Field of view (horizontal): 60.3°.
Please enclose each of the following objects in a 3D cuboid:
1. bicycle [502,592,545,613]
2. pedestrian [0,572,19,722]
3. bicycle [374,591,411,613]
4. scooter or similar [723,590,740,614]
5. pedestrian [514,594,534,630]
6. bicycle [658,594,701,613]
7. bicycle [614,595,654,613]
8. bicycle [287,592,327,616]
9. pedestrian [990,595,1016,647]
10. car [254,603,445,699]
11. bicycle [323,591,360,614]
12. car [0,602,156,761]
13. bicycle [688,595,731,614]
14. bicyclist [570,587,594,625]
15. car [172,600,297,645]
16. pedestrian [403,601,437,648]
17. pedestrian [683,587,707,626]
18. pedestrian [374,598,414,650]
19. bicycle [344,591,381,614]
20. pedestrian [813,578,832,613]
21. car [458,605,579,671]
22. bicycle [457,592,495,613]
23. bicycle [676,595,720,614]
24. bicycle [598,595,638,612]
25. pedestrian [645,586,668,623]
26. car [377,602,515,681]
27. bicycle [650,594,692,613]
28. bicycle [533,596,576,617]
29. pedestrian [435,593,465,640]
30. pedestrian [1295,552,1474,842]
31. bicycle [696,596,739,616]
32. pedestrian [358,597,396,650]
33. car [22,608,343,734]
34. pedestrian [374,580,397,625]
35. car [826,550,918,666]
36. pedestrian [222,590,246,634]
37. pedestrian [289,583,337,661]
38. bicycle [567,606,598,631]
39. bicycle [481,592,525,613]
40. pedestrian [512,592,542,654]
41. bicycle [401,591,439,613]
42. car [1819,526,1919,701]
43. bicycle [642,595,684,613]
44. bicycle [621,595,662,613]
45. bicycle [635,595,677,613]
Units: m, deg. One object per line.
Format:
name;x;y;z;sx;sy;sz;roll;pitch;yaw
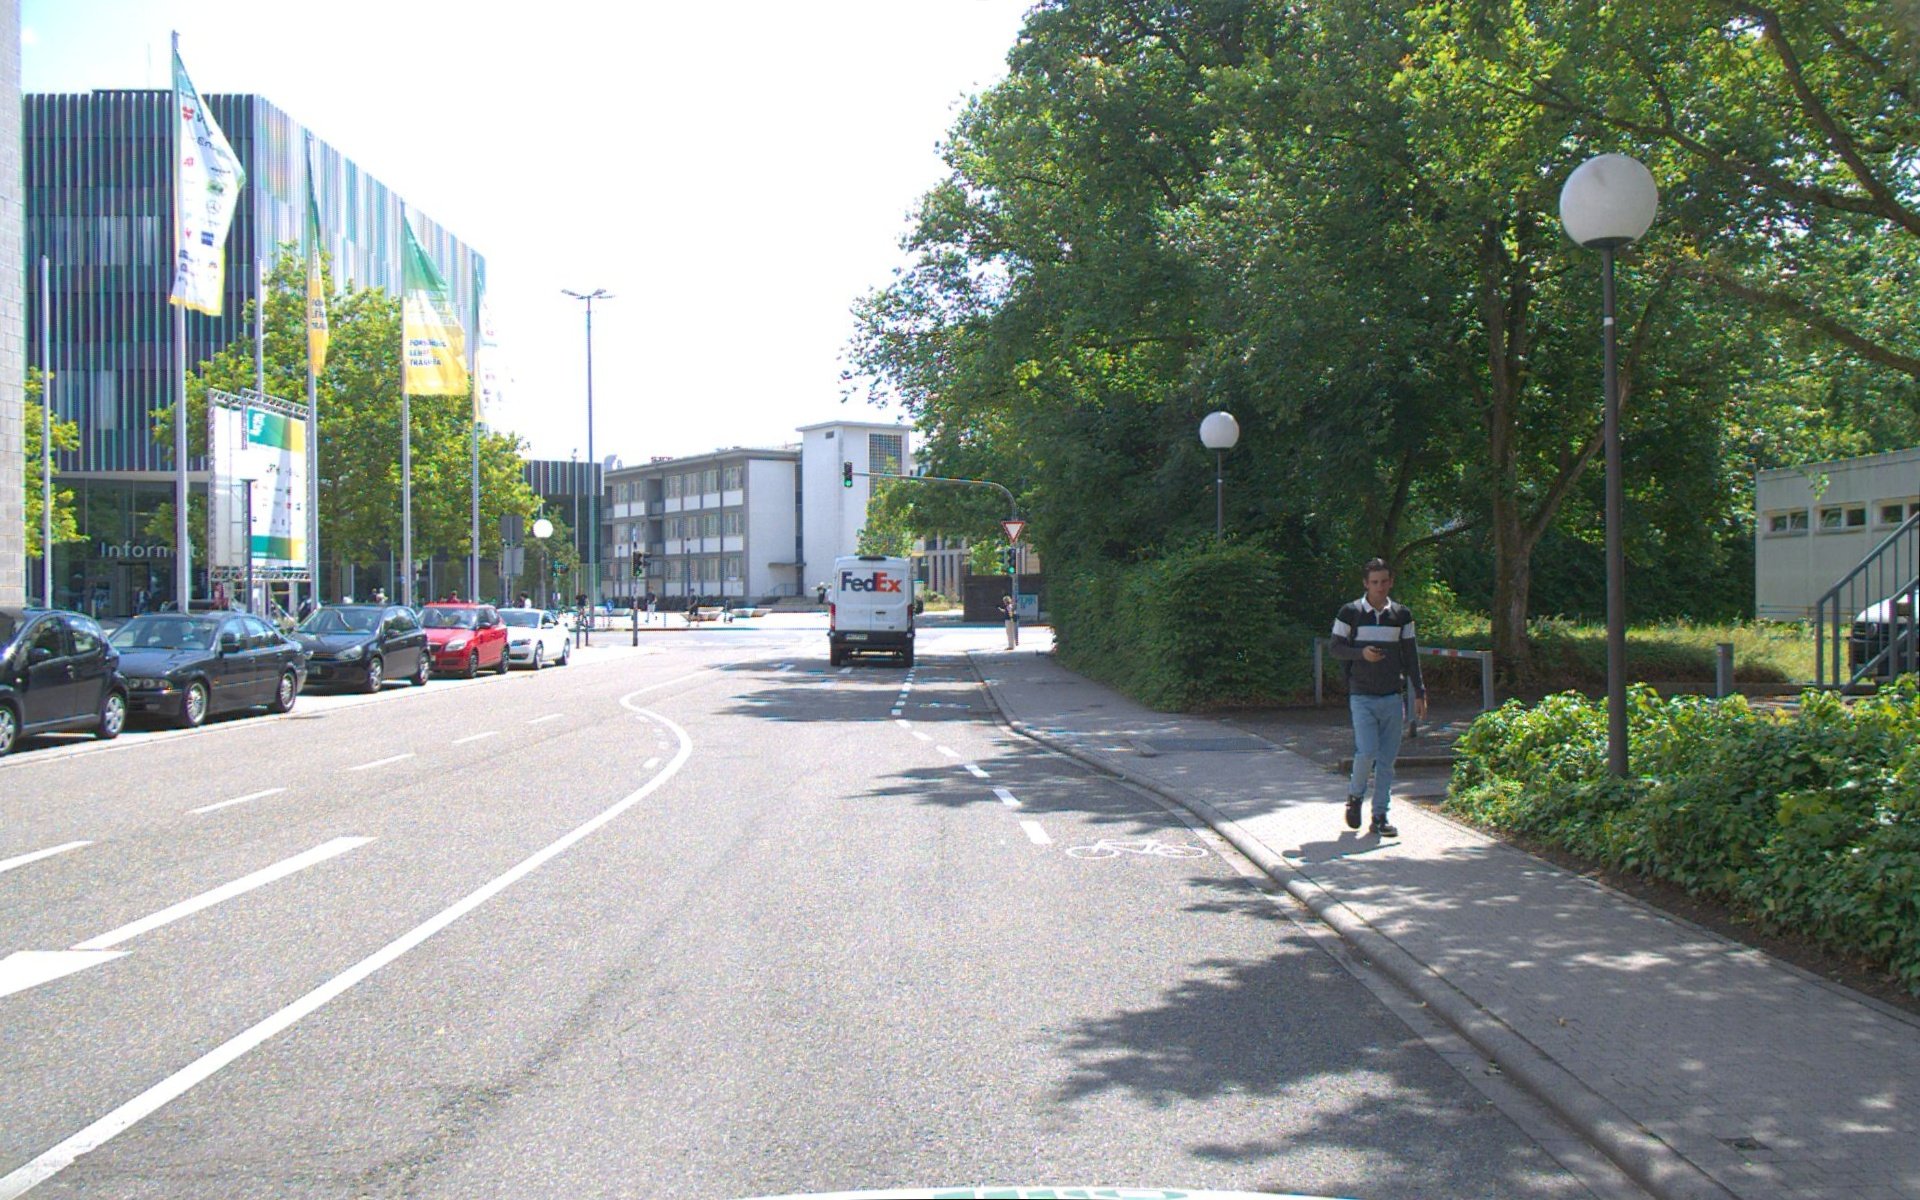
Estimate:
bicycle;-26.253;0.151;99.417;2.901;1.259;1.193;0;0;44
pedestrian;-13.598;0.641;22.503;0.965;2.049;1.163;0;0;-5
bicycle;-32.261;0.104;93.954;1.188;1.259;2.913;0;0;-36
scooter or similar;-11.800;0.113;85.451;0.704;1.199;2.717;0;0;-11
pedestrian;-20.772;0.582;78.808;0.738;1.708;0.755;-1;0;-4
bicycle;-20.696;0.283;122.063;2.936;1.387;1.101;0;0;-39
bicycle;-25.330;0.309;128.485;2.936;1.387;1.101;0;0;-39
bicycle;-36.012;0.210;91.209;1.363;1.259;2.913;0;0;-36
pedestrian;1.339;0.655;51.401;0.717;1.603;0.774;1;0;-6
car;-10.600;0.837;29.061;1.712;1.493;4.196;2;0;1
bicycle;-34.438;0.161;92.055;1.188;1.259;2.913;0;0;-36
car;-10.196;0.798;17.472;1.605;1.493;3.706;1;0;-1
bicycle;-17.974;0.328;118.675;2.936;1.387;1.101;0;0;-39
bicyclist;-18.562;0.284;81.240;0.772;1.849;1.000;-1;0;9
car;-28.804;0.892;65.724;4.194;1.690;1.653;-1;1;0
pedestrian;-19.737;0.882;60.481;0.808;1.683;0.862;-1;1;13
pedestrian;-13.150;0.301;82.007;1.059;1.903;0.832;-1;0;-3
pedestrian;-20.693;0.875;60.482;0.844;1.850;1.096;-1;0;22
bicycle;-33.664;0.153;93.126;1.188;1.259;2.913;0;0;-36
pedestrian;-7.704;-0.250;92.697;0.852;1.922;0.907;0;0;-20
car;-10.491;0.857;39.613;1.642;1.420;4.662;2;0;0
bicycle;-28.640;0.143;97.851;1.188;1.259;2.911;0;0;-38
bicycle;-19.021;0.325;119.918;2.936;1.387;1.258;0;0;-39
bicycle;-27.183;0.291;131.470;2.936;1.387;1.101;0;0;-39
pedestrian;-15.795;0.238;86.101;0.687;1.887;1.400;-1;2;8
car;-10.628;0.822;34.478;1.642;1.493;3.910;2;0;0
bicycle;-21.488;0.284;123.104;2.936;1.387;1.101;0;0;-39
bicycle;-24.727;0.415;100.751;2.901;1.259;1.193;0;0;44
pedestrian;-17.866;0.587;57.957;0.754;1.625;0.798;-1;0;1
pedestrian;2.637;0.568;10.406;0.725;1.704;1.255;0;0;-4
bicycle;-17.229;0.438;117.590;2.936;1.387;1.101;0;0;-39
pedestrian;-21.550;0.857;61.146;0.835;1.909;1.006;-1;0;22
car;-10.129;0.853;22.058;1.821;1.402;5.016;2;0;1
pedestrian;-33.542;0.139;96.538;0.968;2.610;0.998;0;0;-44
car;-2.076;0.156;40.464;2.053;2.611;5.600;-1;0;-2
pedestrian;-42.605;0.694;97.030;0.953;2.610;1.014;0;0;-1
pedestrian;-15.979;0.529;40.888;0.704;1.883;1.089;1;0;3
bicycle;-18.558;0.899;81.292;0.754;1.142;2.028;-1;0;9
bicycle;-27.226;0.147;98.481;2.901;1.259;1.193;0;0;44
pedestrian;-13.295;0.707;50.768;0.704;1.892;0.770;0;0;1
bicycle;-31.209;0.132;95.557;1.188;1.259;2.912;0;0;-37
car;13.503;0.117;20.420;4.726;2.049;2.061;-1;0;-1
bicycle;-22.260;0.311;124.142;2.936;1.387;1.101;0;0;-39
bicycle;-24.424;0.311;127.019;2.936;1.387;1.101;0;0;-39
bicycle;-22.991;0.315;125.151;2.936;1.387;1.101;0;0;-39
